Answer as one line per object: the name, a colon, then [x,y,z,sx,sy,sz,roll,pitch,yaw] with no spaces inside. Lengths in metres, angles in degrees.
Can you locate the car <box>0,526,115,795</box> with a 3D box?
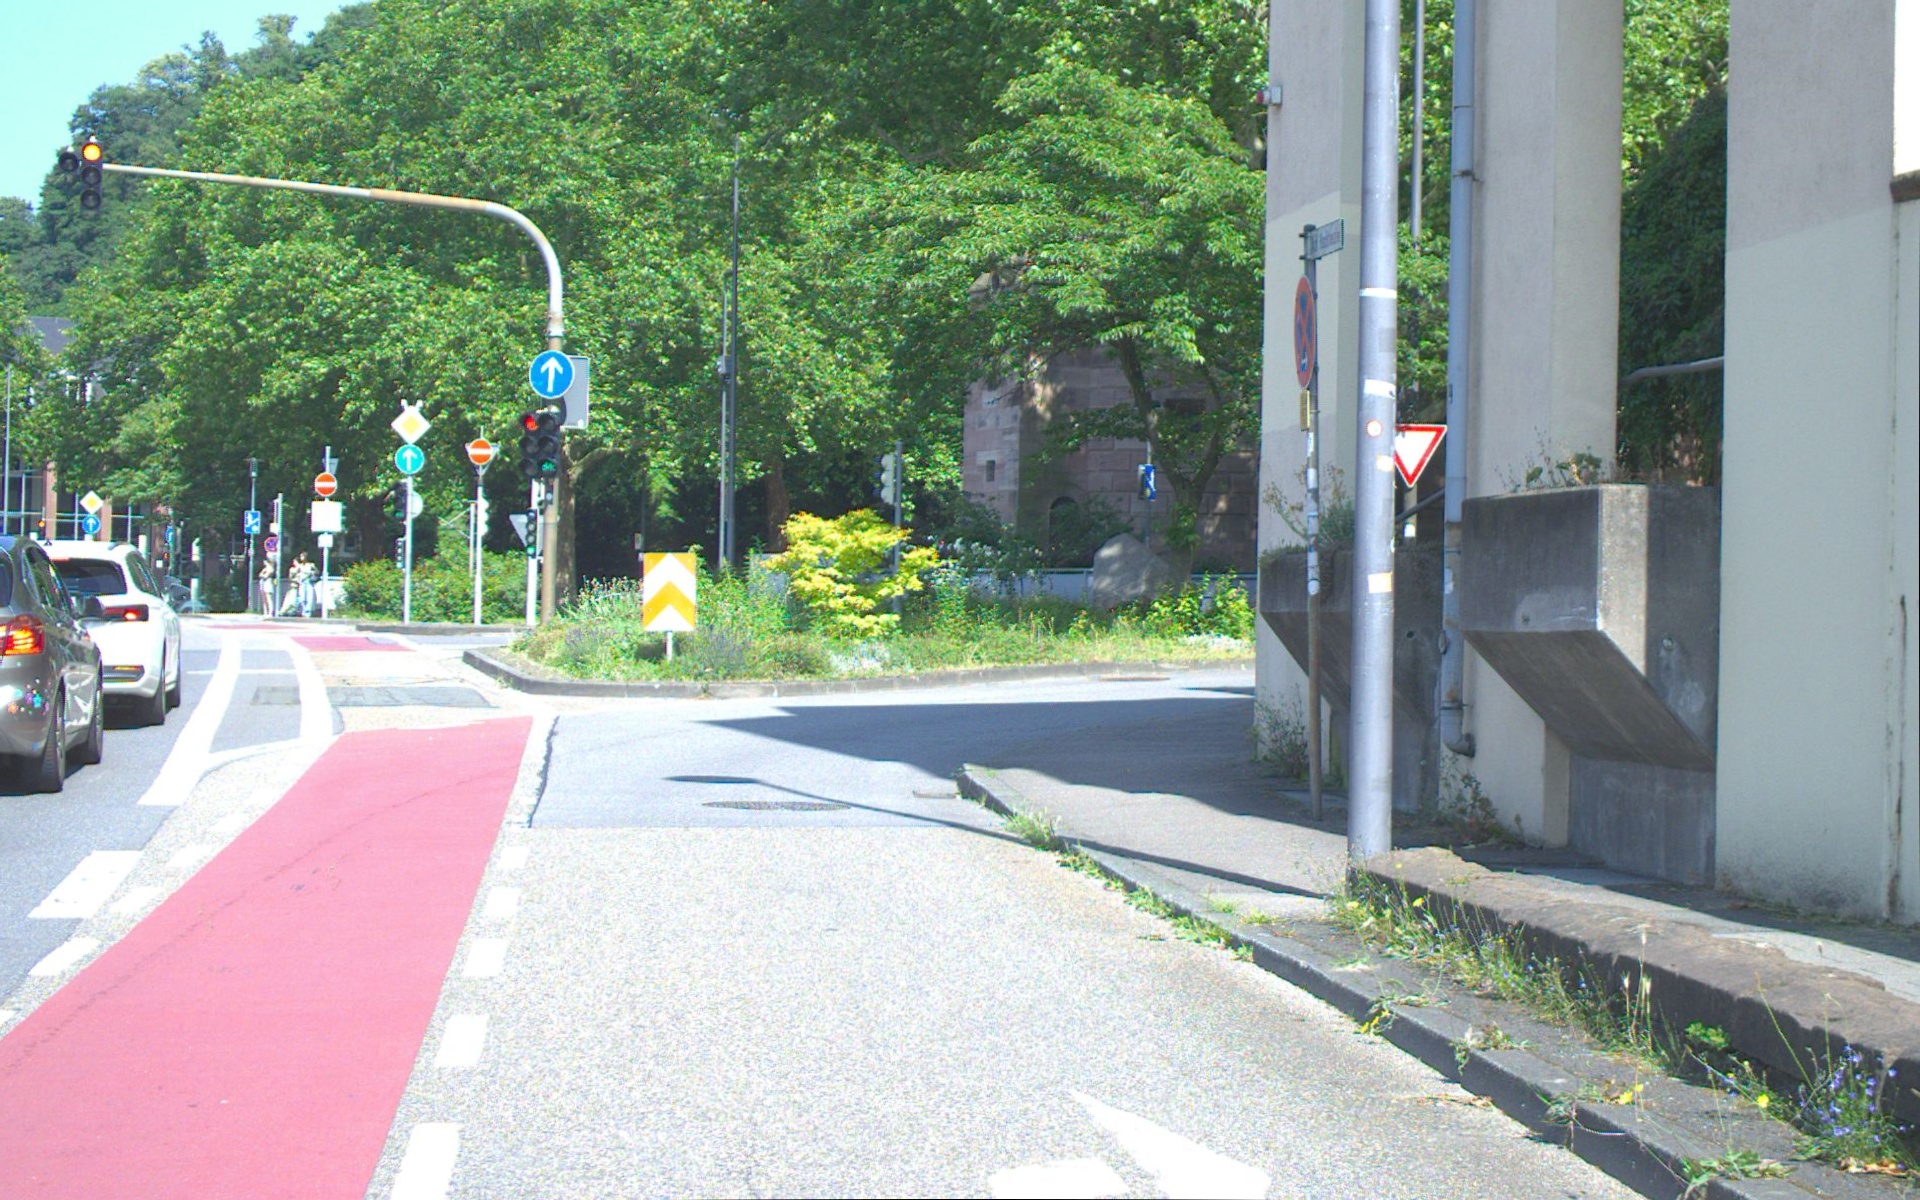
car: [-6.427,0.308,21.375,1.888,1.516,4.307,1,1,-9]

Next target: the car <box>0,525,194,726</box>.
car: [-7.554,0.142,28.745,1.993,1.528,4.860,0,1,-10]

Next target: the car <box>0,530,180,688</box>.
car: [-9.066,0.055,35.554,1.785,1.527,4.738,0,1,-11]

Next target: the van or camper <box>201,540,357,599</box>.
van or camper: [-21.978,-0.988,111.079,4.543,1.895,1.999,0,1,8]

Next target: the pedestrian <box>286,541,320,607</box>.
pedestrian: [-17.110,-0.691,89.561,0.761,1.703,0.878,0,1,-3]
